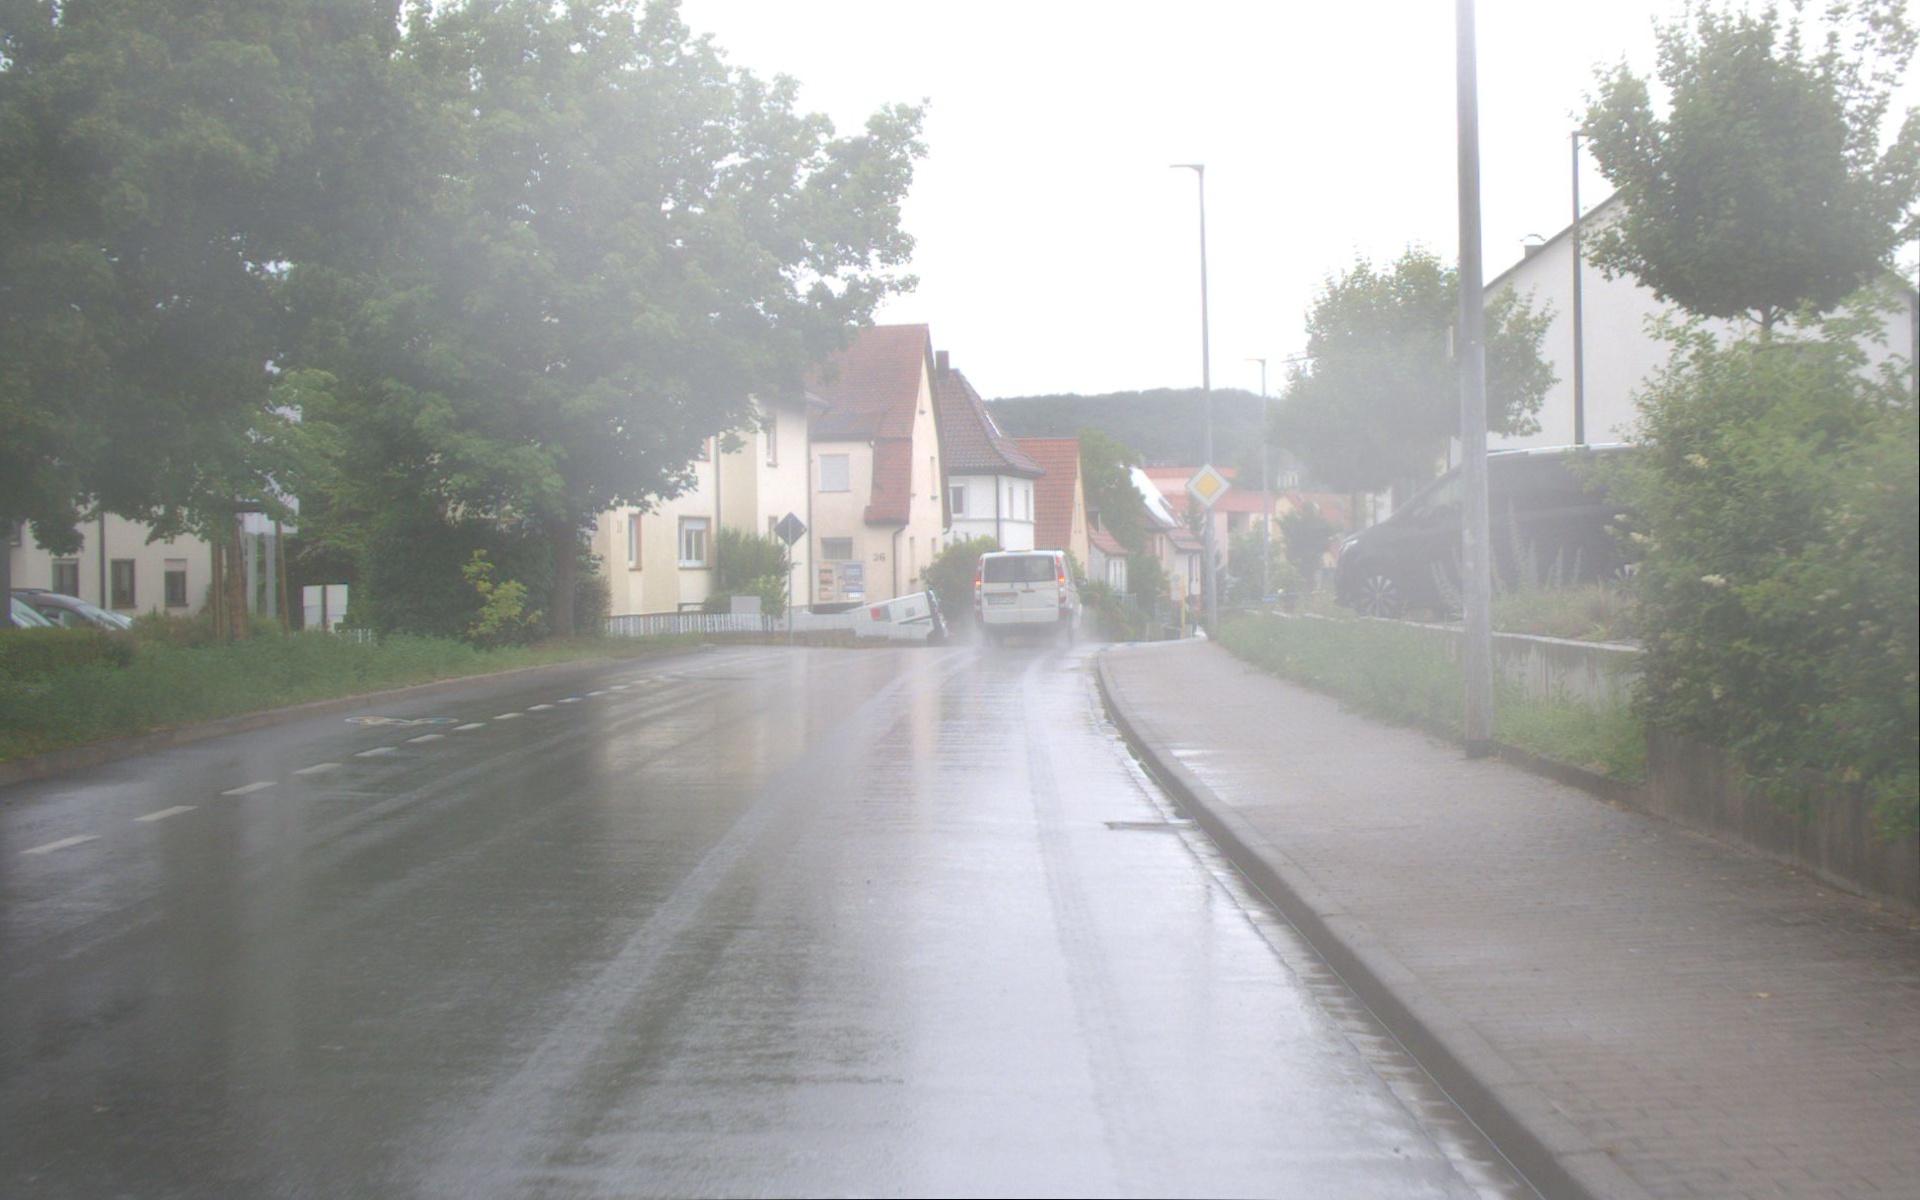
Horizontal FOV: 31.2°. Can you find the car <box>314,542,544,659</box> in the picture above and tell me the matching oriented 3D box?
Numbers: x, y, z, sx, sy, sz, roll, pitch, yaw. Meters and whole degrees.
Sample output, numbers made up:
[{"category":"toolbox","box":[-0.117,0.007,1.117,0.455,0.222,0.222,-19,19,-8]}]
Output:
[{"category":"car","box":[-7.251,0.020,47.060,2.908,1.450,1.253,-2,-2,1]}]

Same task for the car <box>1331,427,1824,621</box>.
[{"category":"car","box":[6.994,-0.826,39.247,5.110,1.913,2.049,-3,-1,38]}]

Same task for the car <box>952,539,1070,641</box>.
[{"category":"car","box":[1.049,-0.225,68.036,2.117,1.881,4.502,0,2,3]}]

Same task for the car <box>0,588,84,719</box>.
[{"category":"car","box":[-16.509,0.830,55.170,4.396,2.006,2.154,0,2,-2]}]

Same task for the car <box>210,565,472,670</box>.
[{"category":"car","box":[-7.583,0.212,42.256,2.908,1.155,1.471,-2,0,1]}]

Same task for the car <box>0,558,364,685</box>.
[{"category":"car","box":[-8.857,0.245,38.920,3.900,1.280,1.582,-2,0,1]}]

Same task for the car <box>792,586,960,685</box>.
[{"category":"car","box":[-2.562,1.081,105.306,4.555,2.006,2.159,-13,0,8]}]
